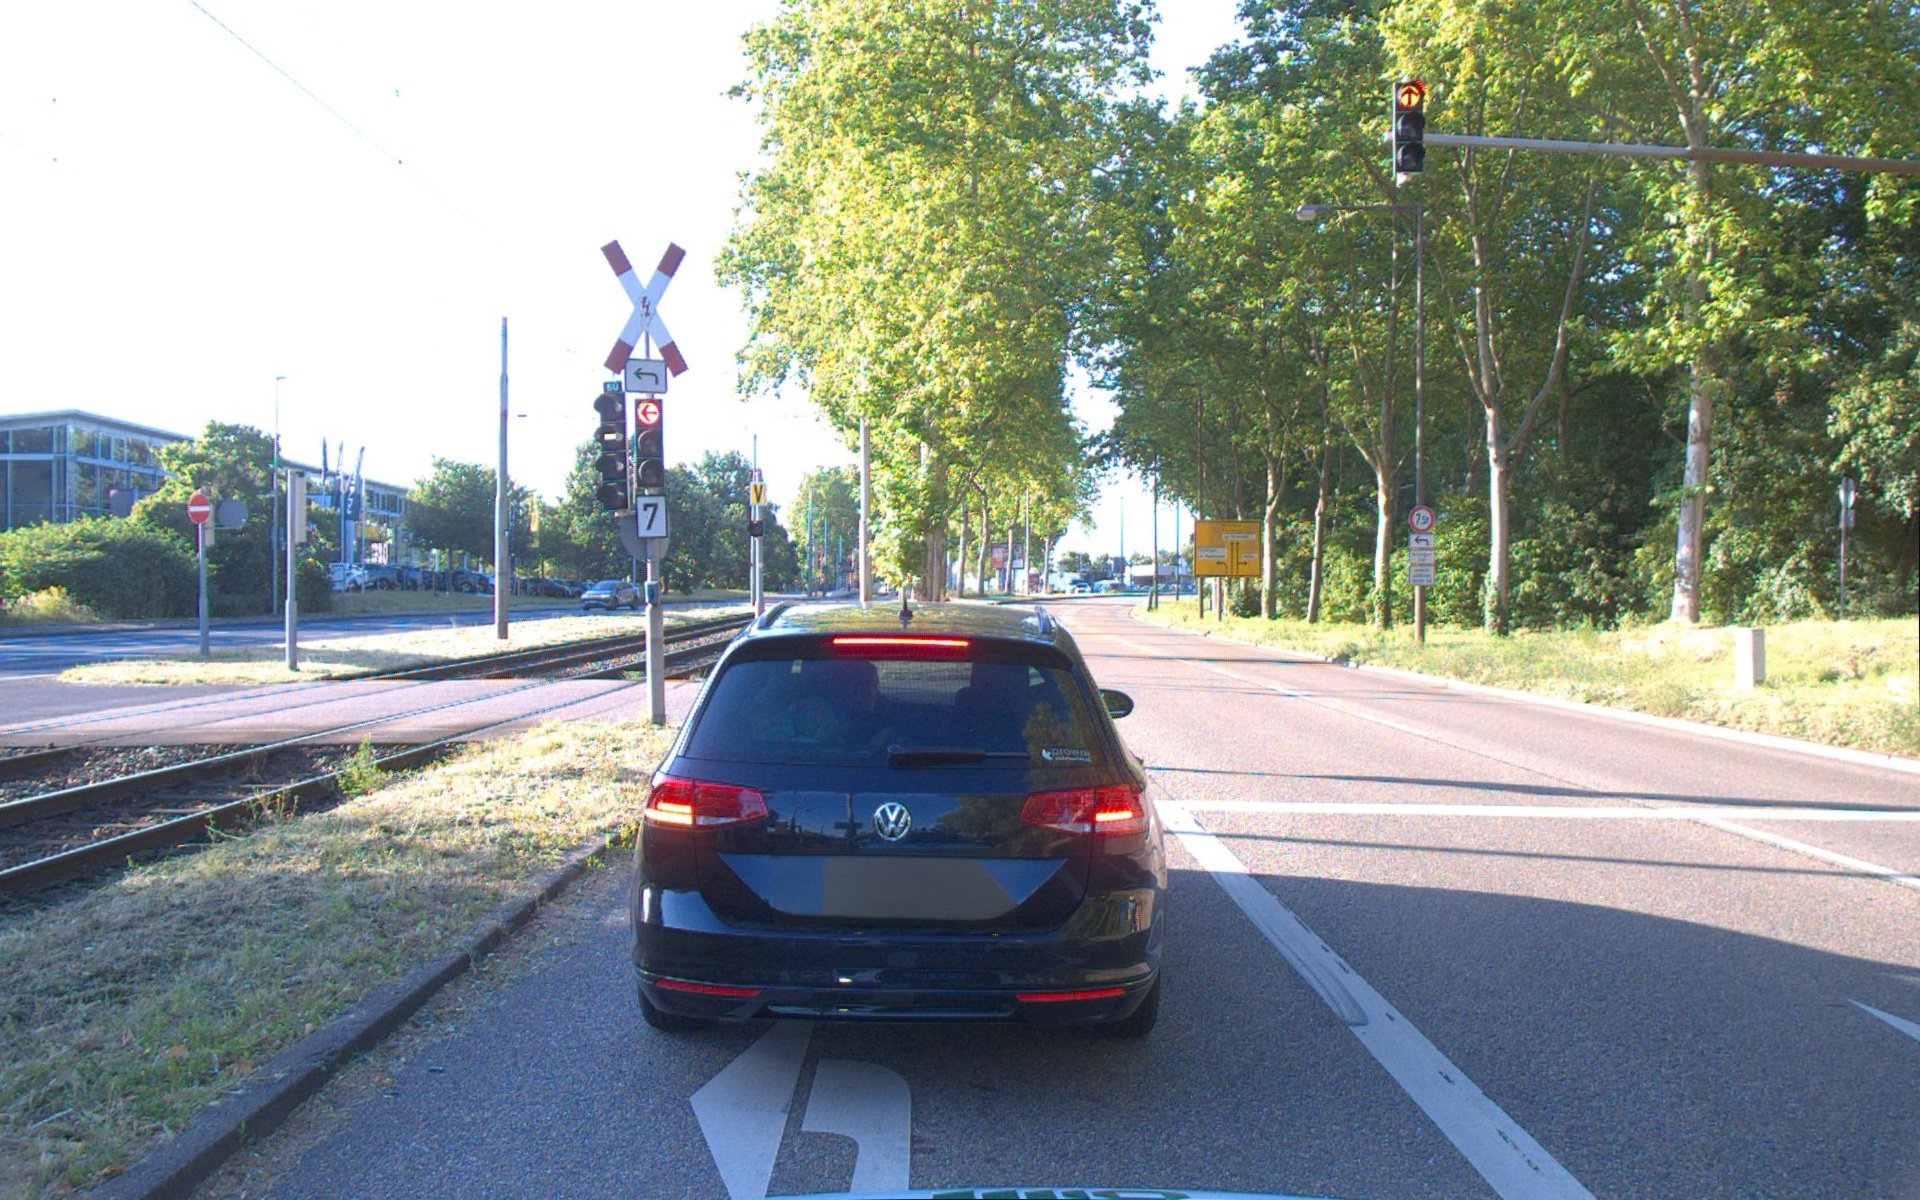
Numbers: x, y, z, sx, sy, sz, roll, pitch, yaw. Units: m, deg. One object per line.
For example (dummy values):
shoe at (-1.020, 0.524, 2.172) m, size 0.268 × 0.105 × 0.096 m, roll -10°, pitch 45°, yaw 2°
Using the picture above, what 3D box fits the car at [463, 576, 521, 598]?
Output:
car at (-35.234, -0.975, 124.484) m, size 3.909 × 1.649 × 1.742 m, roll 1°, pitch 0°, yaw -6°

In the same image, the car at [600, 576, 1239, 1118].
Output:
car at (-0.144, 0.684, 6.402) m, size 1.758 × 1.490 × 3.582 m, roll 1°, pitch 0°, yaw -1°

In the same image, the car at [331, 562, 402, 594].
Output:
car at (-35.545, -1.310, 99.029) m, size 3.930 × 1.848 × 1.732 m, roll 1°, pitch 0°, yaw -22°

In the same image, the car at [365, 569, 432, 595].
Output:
car at (-35.539, -1.123, 104.723) m, size 3.930 × 1.583 × 1.732 m, roll 1°, pitch 0°, yaw -22°

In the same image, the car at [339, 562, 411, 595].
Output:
car at (-34.438, -1.275, 97.292) m, size 3.930 × 1.848 × 1.732 m, roll 1°, pitch 0°, yaw -22°

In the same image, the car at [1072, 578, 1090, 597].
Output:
car at (16.639, -1.730, 227.497) m, size 2.052 × 2.504 × 5.853 m, roll 1°, pitch 1°, yaw 0°

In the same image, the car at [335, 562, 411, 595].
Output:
car at (-32.907, -1.194, 92.727) m, size 3.930 × 1.734 × 1.732 m, roll 1°, pitch 0°, yaw -22°

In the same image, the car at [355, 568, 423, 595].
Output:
car at (-35.198, -1.144, 101.945) m, size 3.930 × 1.583 × 1.732 m, roll 1°, pitch 0°, yaw -22°

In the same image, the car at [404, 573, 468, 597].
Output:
car at (-36.034, -1.052, 113.813) m, size 3.913 × 1.583 × 1.740 m, roll 1°, pitch 0°, yaw -9°

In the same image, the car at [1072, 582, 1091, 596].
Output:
car at (14.337, -1.293, 195.413) m, size 1.822 × 1.507 × 4.095 m, roll 1°, pitch 0°, yaw 10°

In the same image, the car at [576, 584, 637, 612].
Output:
car at (-20.116, -0.149, 94.261) m, size 1.822 × 1.507 × 4.176 m, roll 1°, pitch 1°, yaw 12°

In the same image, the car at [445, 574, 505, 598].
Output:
car at (-35.565, -1.010, 121.268) m, size 3.909 × 1.649 × 1.742 m, roll 1°, pitch 0°, yaw -6°
